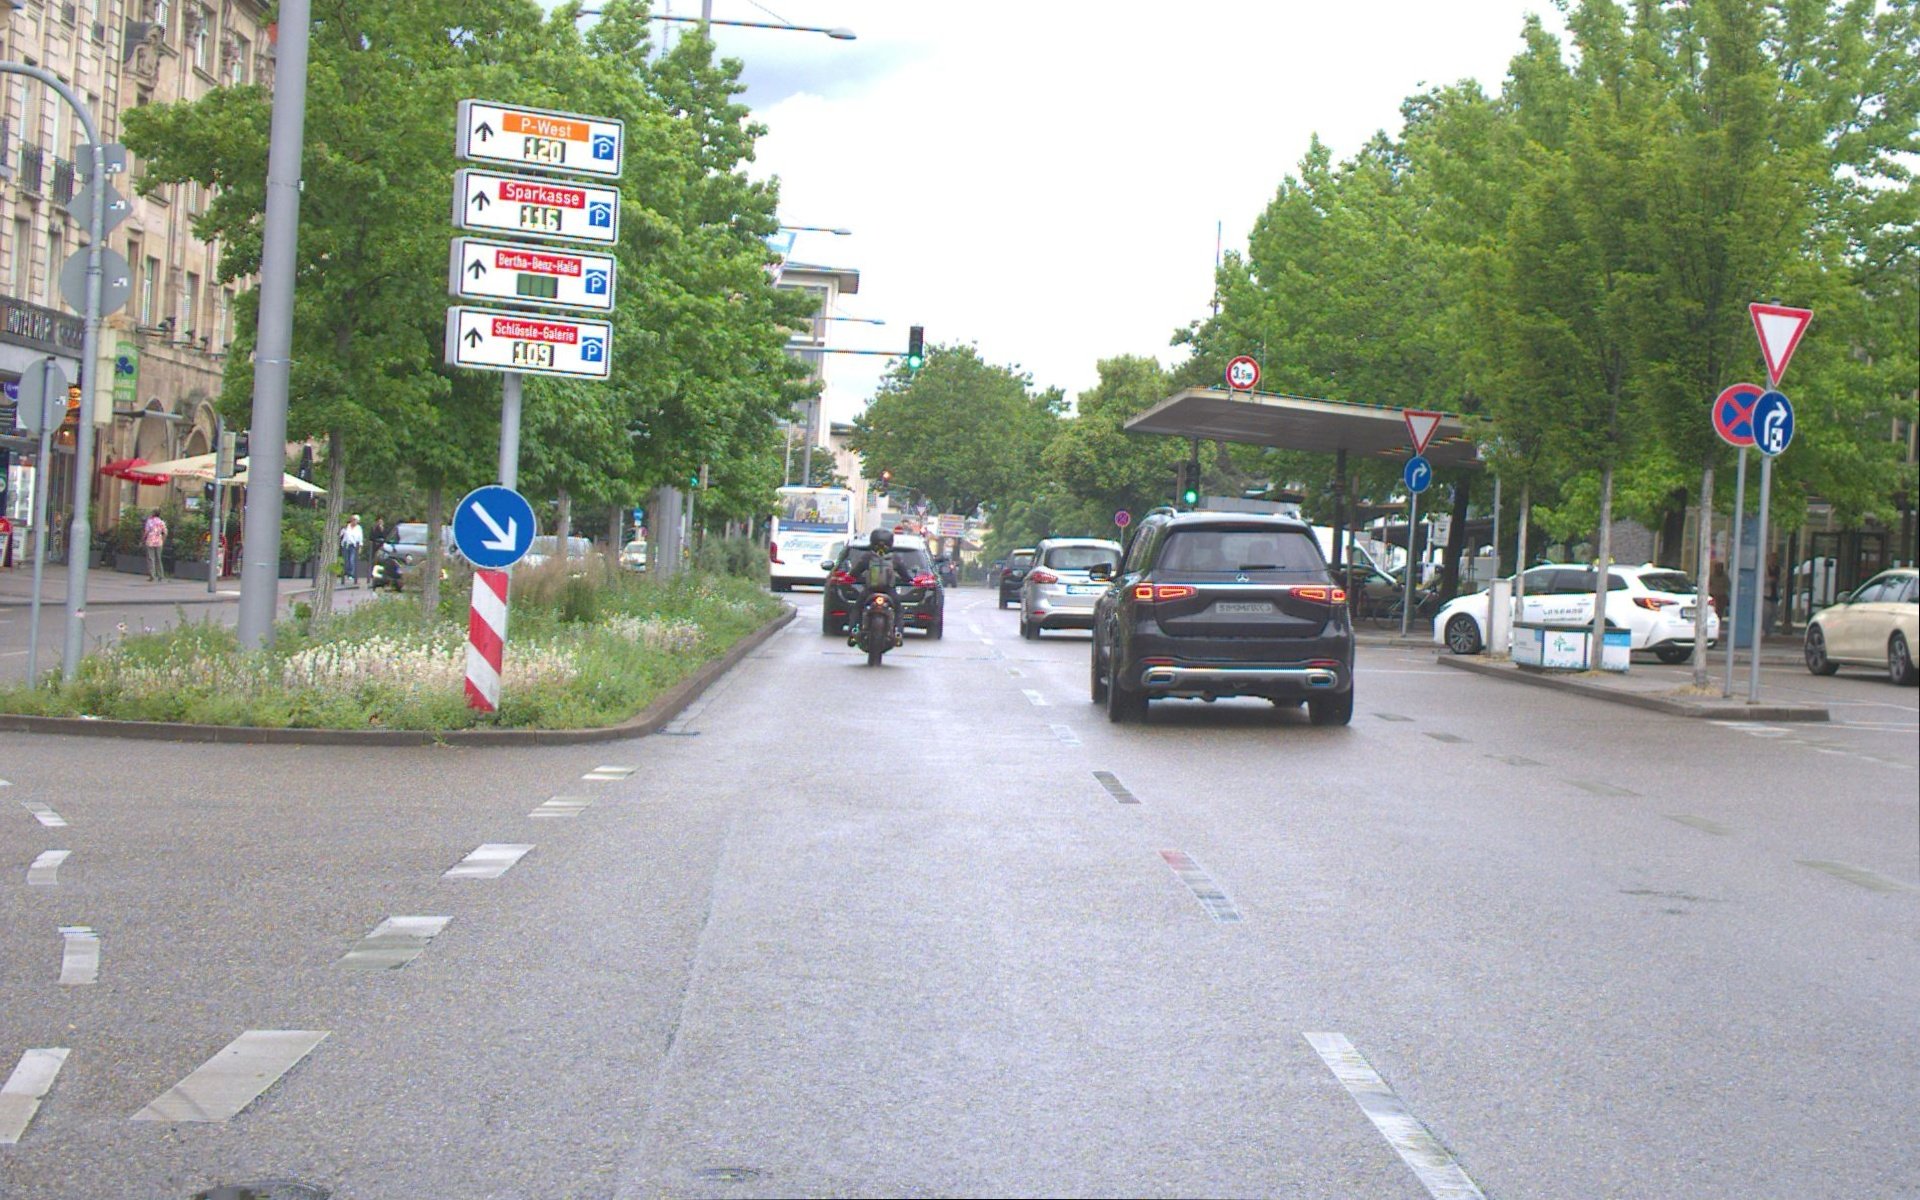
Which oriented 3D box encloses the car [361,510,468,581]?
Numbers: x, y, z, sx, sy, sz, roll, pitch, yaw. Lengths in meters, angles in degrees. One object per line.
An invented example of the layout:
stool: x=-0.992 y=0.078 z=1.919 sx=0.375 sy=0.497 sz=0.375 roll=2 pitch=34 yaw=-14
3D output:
car: x=-12.246 y=-1.224 z=77.384 sx=1.771 sy=1.525 sz=4.079 roll=1 pitch=1 yaw=0

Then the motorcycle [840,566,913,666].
motorcycle: x=-0.944 y=0.166 z=39.156 sx=0.766 sy=1.073 sz=2.175 roll=2 pitch=1 yaw=0

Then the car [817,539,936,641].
car: x=-1.233 y=-0.183 z=51.751 sx=1.708 sy=1.443 sz=4.000 roll=1 pitch=1 yaw=-1

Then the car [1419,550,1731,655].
car: x=9.079 y=0.015 z=51.009 sx=1.774 sy=1.380 sz=4.366 roll=3 pitch=-1 yaw=-41

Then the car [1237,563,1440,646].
car: x=9.060 y=0.111 z=82.282 sx=4.335 sy=1.851 sz=2.001 roll=1 pitch=1 yaw=-20

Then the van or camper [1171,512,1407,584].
van or camper: x=9.862 y=-1.548 z=102.960 sx=6.753 sy=2.007 sz=2.385 roll=1 pitch=0 yaw=-26

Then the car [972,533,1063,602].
car: x=1.343 y=-0.788 z=81.996 sx=1.810 sy=1.576 sz=3.904 roll=2 pitch=1 yaw=-4

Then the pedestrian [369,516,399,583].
pedestrian: x=-14.887 y=-1.307 z=88.858 sx=0.674 sy=1.696 sz=0.634 roll=1 pitch=1 yaw=-1

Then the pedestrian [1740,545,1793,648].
pedestrian: x=15.828 y=-0.072 z=67.450 sx=0.769 sy=2.007 sz=0.828 roll=1 pitch=1 yaw=-2

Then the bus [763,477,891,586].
bus: x=-4.283 y=-2.199 z=110.953 sx=3.760 sy=3.198 sz=15.528 roll=1 pitch=1 yaw=-2

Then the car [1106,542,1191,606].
car: x=4.657 y=-0.667 z=85.400 sx=1.816 sy=1.525 sz=4.000 roll=1 pitch=1 yaw=-1

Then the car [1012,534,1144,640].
car: x=1.819 y=-0.231 z=54.006 sx=1.851 sy=1.562 sz=4.000 roll=1 pitch=1 yaw=-1

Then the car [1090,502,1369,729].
car: x=2.272 y=0.079 z=30.218 sx=1.993 sy=1.800 sz=4.690 roll=1 pitch=1 yaw=-1

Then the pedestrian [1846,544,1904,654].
pedestrian: x=16.906 y=-0.024 z=63.513 sx=0.769 sy=2.007 sz=0.828 roll=1 pitch=1 yaw=-2

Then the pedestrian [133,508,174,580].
pedestrian: x=-17.163 y=-1.195 z=73.129 sx=0.661 sy=1.505 sz=0.519 roll=1 pitch=1 yaw=-38

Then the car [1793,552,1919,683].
car: x=12.607 y=0.212 z=44.301 sx=1.993 sy=1.594 sz=4.824 roll=1 pitch=1 yaw=-7

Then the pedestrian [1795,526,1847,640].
pedestrian: x=18.446 y=-0.363 z=73.654 sx=0.843 sy=2.403 sz=0.862 roll=1 pitch=1 yaw=1

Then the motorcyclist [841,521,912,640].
motorcyclist: x=-0.947 y=-0.224 z=39.358 sx=0.764 sy=1.327 sz=0.866 roll=2 pitch=1 yaw=0

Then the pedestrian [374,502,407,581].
pedestrian: x=-14.688 y=-1.507 z=88.652 sx=0.757 sy=2.007 sz=0.833 roll=1 pitch=1 yaw=-7
